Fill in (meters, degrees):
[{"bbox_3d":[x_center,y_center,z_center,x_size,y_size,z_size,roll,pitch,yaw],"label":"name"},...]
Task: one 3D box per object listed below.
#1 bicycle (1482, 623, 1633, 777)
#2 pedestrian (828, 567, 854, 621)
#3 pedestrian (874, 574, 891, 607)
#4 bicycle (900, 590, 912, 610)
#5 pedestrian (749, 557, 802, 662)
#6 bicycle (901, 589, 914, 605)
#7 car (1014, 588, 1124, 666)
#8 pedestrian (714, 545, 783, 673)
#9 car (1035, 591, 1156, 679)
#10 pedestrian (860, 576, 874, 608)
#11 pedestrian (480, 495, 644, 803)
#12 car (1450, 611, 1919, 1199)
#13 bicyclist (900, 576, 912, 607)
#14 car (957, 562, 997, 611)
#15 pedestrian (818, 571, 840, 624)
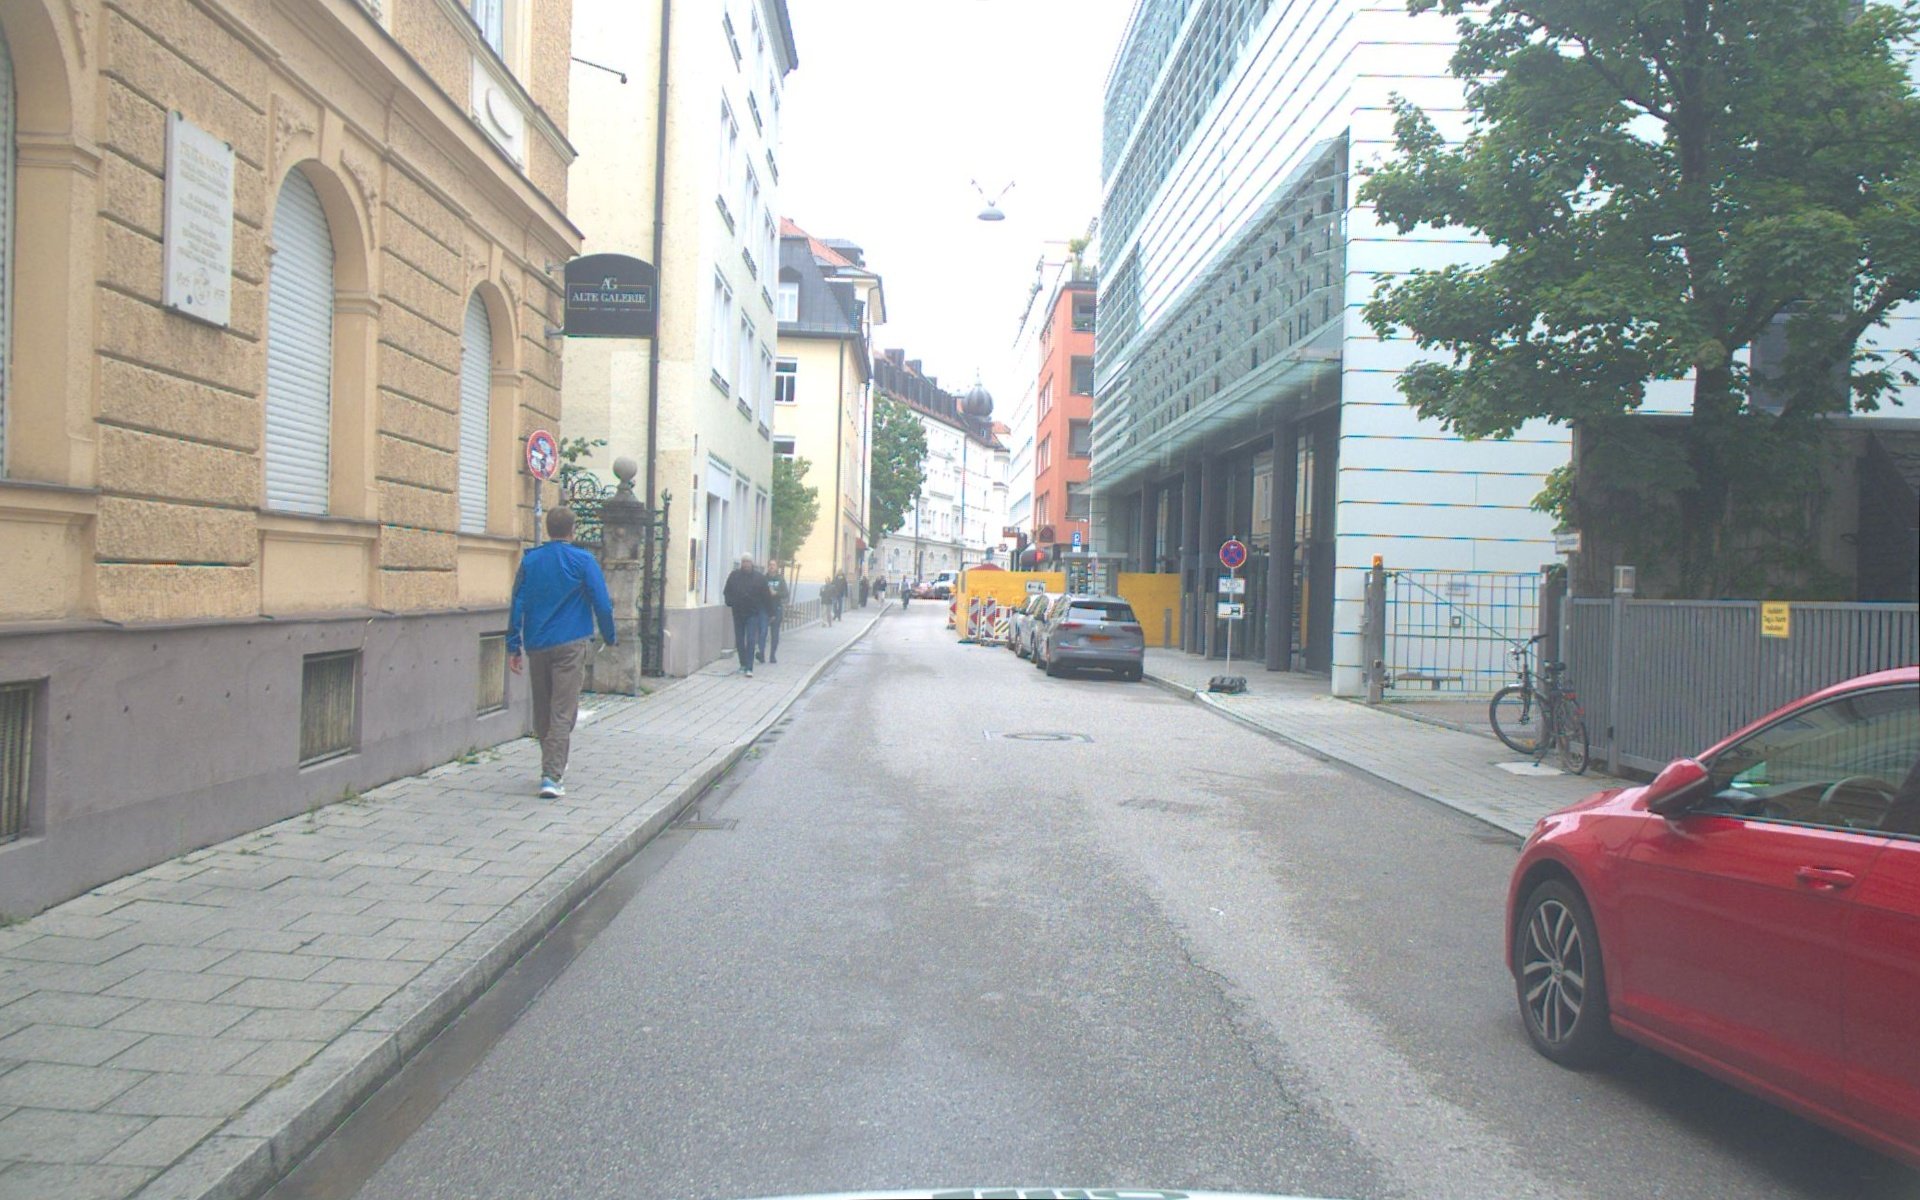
[{"bbox_3d":[5.591,0.905,15.598,0.693,1.219,1.834,1,3,-1],"label":"bicycle"},{"bbox_3d":[-4.408,-0.222,61.267,0.850,1.914,1.134,3,0,-3],"label":"pedestrian"},{"bbox_3d":[-4.126,-0.499,88.247,0.822,1.730,0.802,3,0,-2],"label":"pedestrian"},{"bbox_3d":[-3.005,-0.019,91.503,0.648,1.057,2.004,1,0,-2],"label":"bicycle"},{"bbox_3d":[-3.114,0.152,27.940,0.698,1.694,0.929,4,0,-2],"label":"pedestrian"},{"bbox_3d":[-3.019,-0.175,95.474,0.693,0.921,1.809,1,0,-2],"label":"bicycle"},{"bbox_3d":[2.292,0.529,35.798,1.674,1.493,4.233,3,0,-5],"label":"car"},{"bbox_3d":[-3.189,0.131,25.050,0.887,1.859,0.955,2,0,-3],"label":"pedestrian"},{"bbox_3d":[2.420,0.591,30.506,1.674,1.457,4.327,2,0,-2],"label":"car"},{"bbox_3d":[-4.958,-0.430,88.493,0.657,1.676,0.761,3,0,-2],"label":"pedestrian"},{"bbox_3d":[-2.592,0.304,10.889,0.742,1.887,1.076,3,0,-2],"label":"pedestrian"},{"bbox_3d":[3.080,0.852,4.490,1.727,1.472,4.292,3,0,-7],"label":"car"},{"bbox_3d":[-3.000,-0.485,91.549,0.646,1.671,0.895,1,0,-2],"label":"bicyclist"},{"bbox_3d":[0.926,-0.777,93.048,1.954,2.581,4.973,3,1,-2],"label":"car"},{"bbox_3d":[-4.358,-0.082,55.201,0.634,1.705,0.723,3,0,-3],"label":"pedestrian"}]
